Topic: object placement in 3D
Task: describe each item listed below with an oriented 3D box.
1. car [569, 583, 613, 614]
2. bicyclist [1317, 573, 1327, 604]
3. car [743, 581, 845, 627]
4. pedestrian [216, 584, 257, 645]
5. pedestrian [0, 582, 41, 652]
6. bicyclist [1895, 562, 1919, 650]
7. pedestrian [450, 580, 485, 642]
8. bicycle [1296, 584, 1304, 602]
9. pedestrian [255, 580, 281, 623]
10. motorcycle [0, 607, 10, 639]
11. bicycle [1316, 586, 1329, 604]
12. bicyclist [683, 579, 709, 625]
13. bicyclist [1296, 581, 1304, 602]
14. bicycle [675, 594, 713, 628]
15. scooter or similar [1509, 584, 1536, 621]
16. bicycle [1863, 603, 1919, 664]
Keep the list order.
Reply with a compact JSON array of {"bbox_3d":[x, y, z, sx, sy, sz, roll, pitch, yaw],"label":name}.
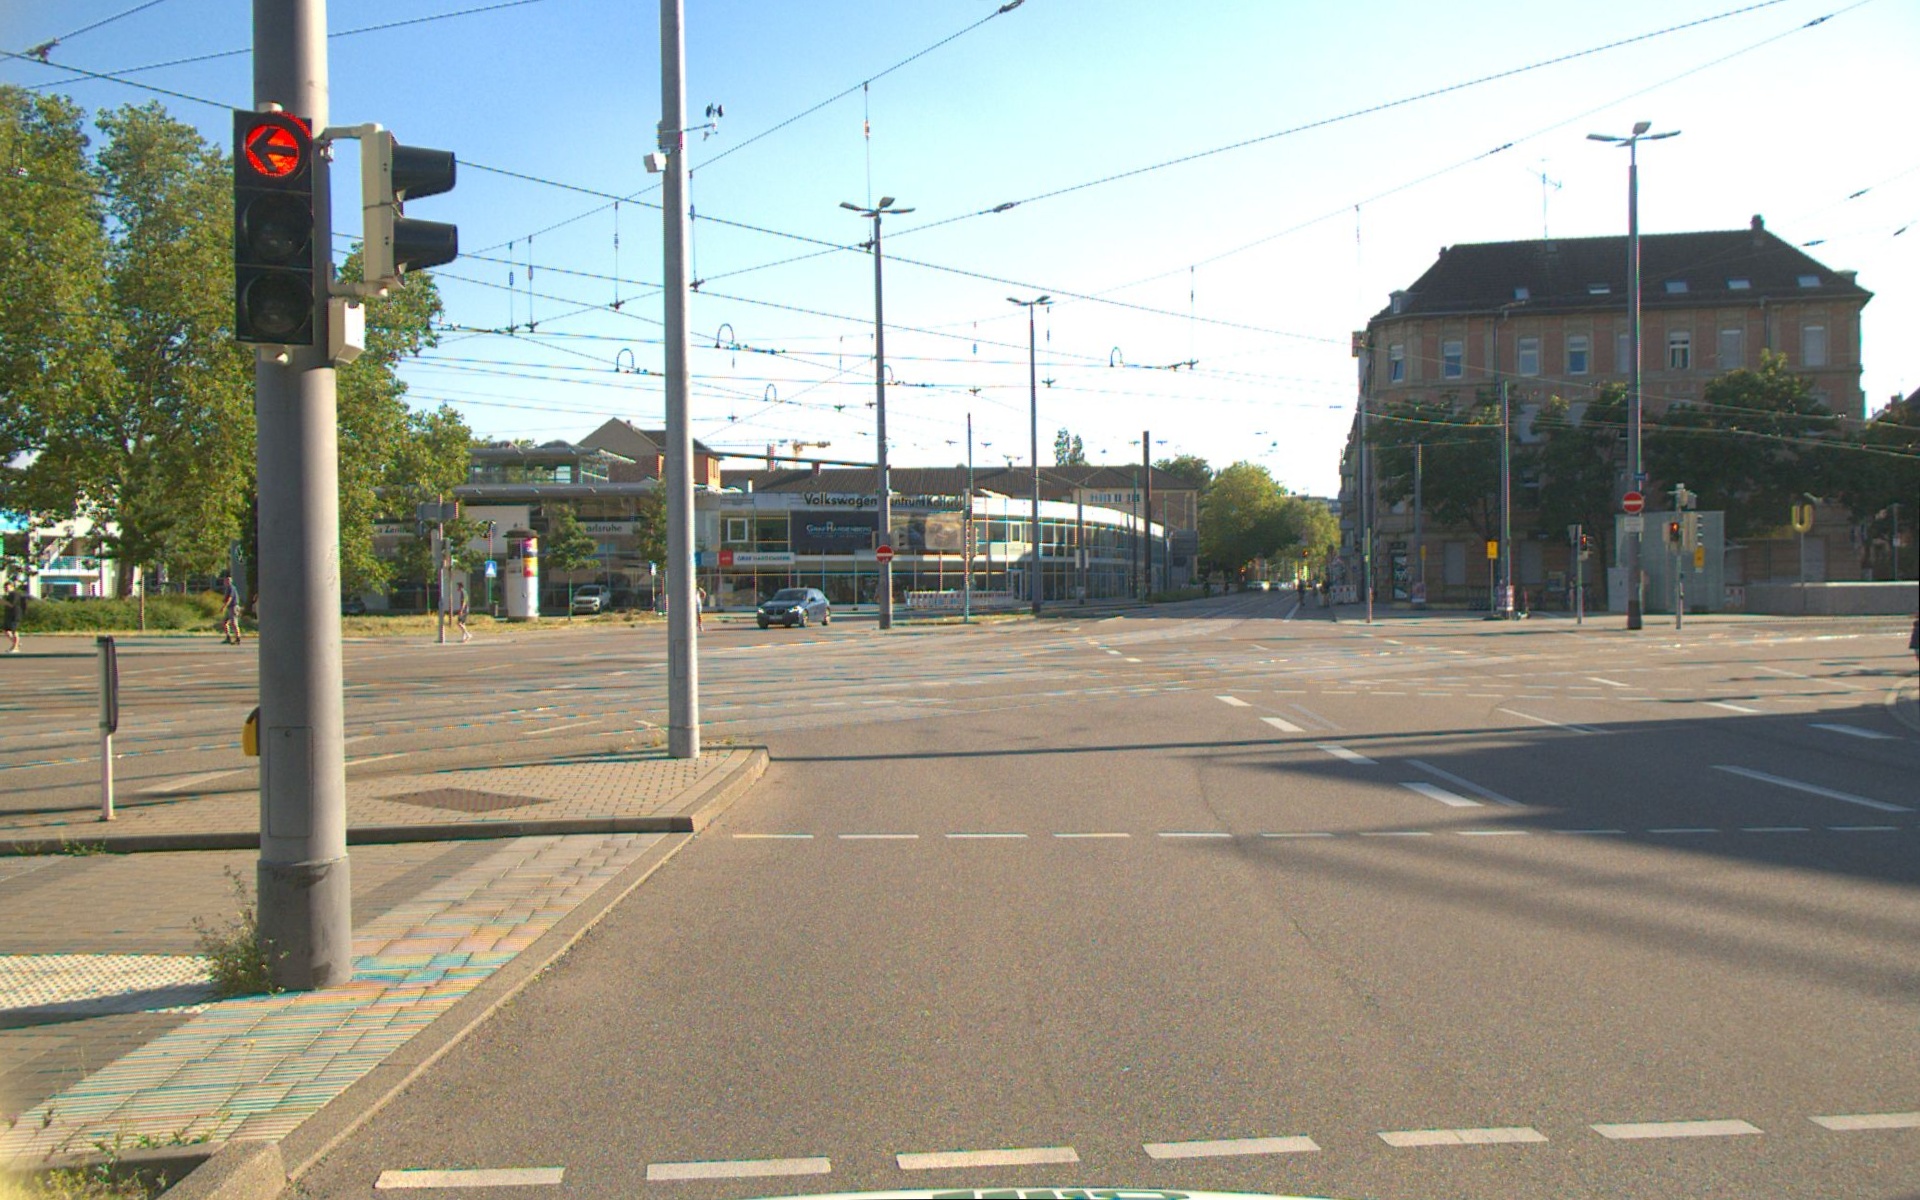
[{"bbox_3d":[-22.069,-0.066,98.978,1.954,1.780,3.997,1,0,-4],"label":"car"},{"bbox_3d":[20.630,-0.651,94.150,0.507,1.730,0.516,1,-1,15],"label":"bicyclist"},{"bbox_3d":[-6.121,0.161,61.538,1.954,1.613,3.996,1,0,26],"label":"car"},{"bbox_3d":[-20.995,0.429,47.999,0.777,1.736,0.759,1,-1,6],"label":"pedestrian"},{"bbox_3d":[-23.592,0.422,41.333,0.777,1.736,0.759,1,-1,6],"label":"pedestrian"},{"bbox_3d":[17.558,0.115,30.055,0.505,1.584,0.945,1,0,-9],"label":"bicyclist"},{"bbox_3d":[-15.475,0.336,51.951,0.777,1.919,0.759,1,-1,6],"label":"pedestrian"},{"bbox_3d":[18.671,-0.385,90.899,0.401,0.958,1.847,1,0,12],"label":"bicycle"},{"bbox_3d":[-27.955,0.062,66.836,0.839,1.723,0.496,1,-1,-3],"label":"pedestrian"},{"bbox_3d":[-28.927,0.668,48.503,1.748,0.930,0.675,1,0,-21],"label":"motorcycle"},{"bbox_3d":[20.610,-0.278,94.079,0.643,0.969,1.601,1,0,14],"label":"bicycle"},{"bbox_3d":[-9.517,0.065,59.600,0.585,1.644,0.823,1,-1,17],"label":"bicyclist"},{"bbox_3d":[18.709,-0.478,91.097,0.399,1.136,0.399,1,-1,11],"label":"bicyclist"},{"bbox_3d":[-9.553,0.387,59.477,0.599,1.210,1.870,1,0,17],"label":"bicycle"},{"bbox_3d":[21.610,0.097,63.569,0.769,1.400,1.910,1,0,13],"label":"scooter or similar"},{"bbox_3d":[17.526,0.619,30.191,0.524,1.067,2.316,1,1,-9],"label":"bicycle"}]
